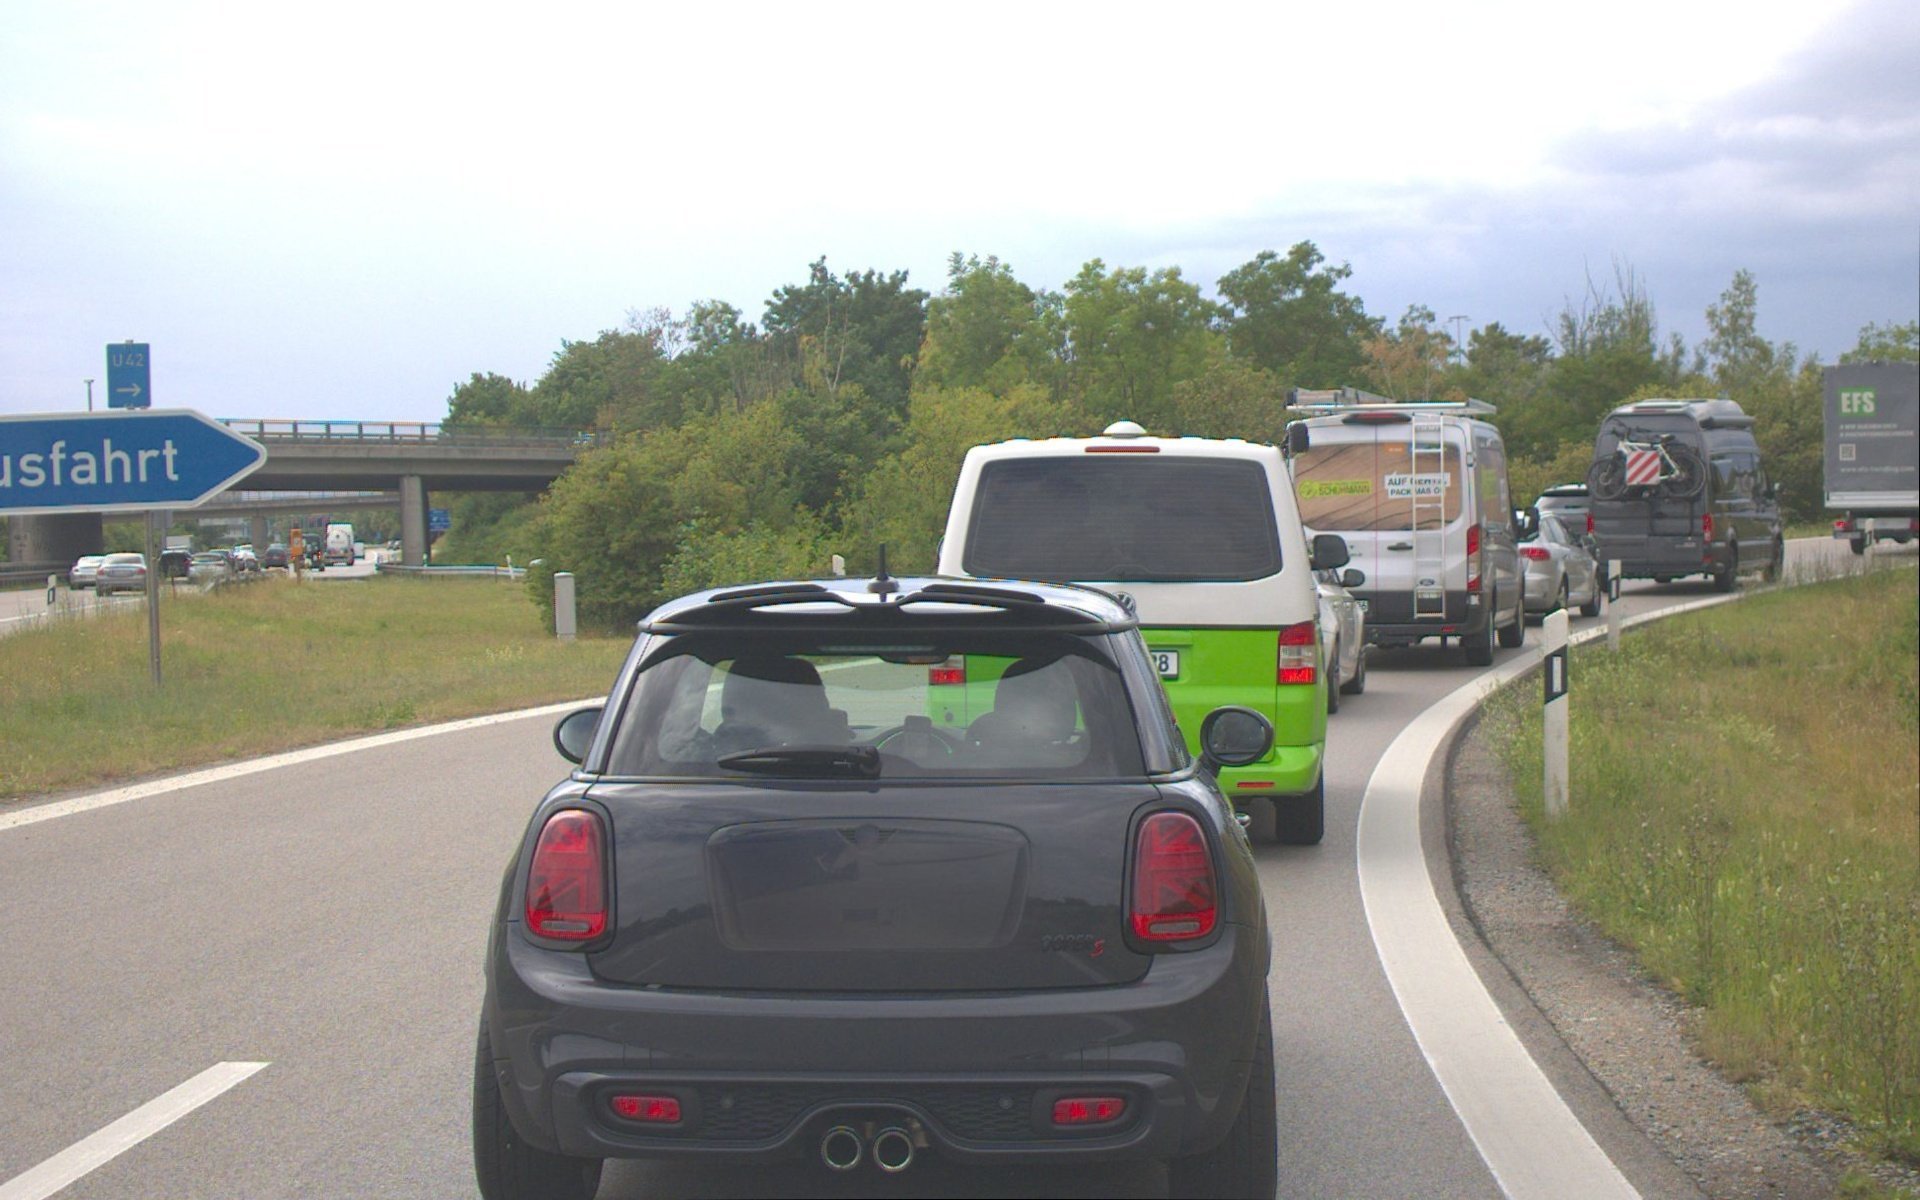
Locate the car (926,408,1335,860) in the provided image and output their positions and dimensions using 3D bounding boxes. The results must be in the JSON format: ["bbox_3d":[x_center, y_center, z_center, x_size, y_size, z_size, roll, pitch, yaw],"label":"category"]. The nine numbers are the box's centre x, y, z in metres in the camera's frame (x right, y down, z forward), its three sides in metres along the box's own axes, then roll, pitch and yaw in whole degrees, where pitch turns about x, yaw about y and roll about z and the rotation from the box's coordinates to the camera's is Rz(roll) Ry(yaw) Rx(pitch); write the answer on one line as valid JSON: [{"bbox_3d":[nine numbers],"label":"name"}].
[{"bbox_3d":[0.971,0.109,17.360,1.784,2.007,3.999,0,1,7],"label":"car"}]

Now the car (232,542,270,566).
[{"bbox_3d":[-50.183,-3.242,243.384,2.159,1.665,4.307,-1,1,-6],"label":"car"}]

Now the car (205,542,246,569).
[{"bbox_3d":[-46.756,-2.820,218.863,2.095,1.665,4.307,-1,1,-6],"label":"car"}]

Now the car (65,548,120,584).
[{"bbox_3d":[-35.083,-1.392,139.102,1.779,1.394,4.307,-1,1,-9],"label":"car"}]

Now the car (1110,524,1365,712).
[{"bbox_3d":[2.292,0.103,27.580,1.763,1.394,3.724,-1,1,9],"label":"car"}]

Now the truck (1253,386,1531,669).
[{"bbox_3d":[4.491,-0.764,35.022,2.180,2.649,5.106,0,2,14],"label":"truck"}]

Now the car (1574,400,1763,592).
[{"bbox_3d":[10.836,-1.578,52.386,2.107,2.786,3.996,1,2,22],"label":"car"}]

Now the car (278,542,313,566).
[{"bbox_3d":[-47.215,-3.291,244.269,2.095,1.665,4.307,-1,1,-6],"label":"car"}]

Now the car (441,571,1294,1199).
[{"bbox_3d":[-0.194,0.648,8.828,1.727,1.409,3.725,0,1,0],"label":"car"}]

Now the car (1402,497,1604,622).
[{"bbox_3d":[6.956,-0.528,43.717,1.868,1.504,3.996,0,1,19],"label":"car"}]

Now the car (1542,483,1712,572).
[{"bbox_3d":[12.124,-1.280,62.338,1.799,1.550,3.954,0,0,31],"label":"car"}]

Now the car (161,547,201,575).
[{"bbox_3d":[-40.583,-2.046,179.140,1.779,1.394,4.307,-1,1,-10],"label":"car"}]

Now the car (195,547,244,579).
[{"bbox_3d":[-33.492,-1.695,155.590,1.779,1.394,4.030,-1,1,-6],"label":"car"}]

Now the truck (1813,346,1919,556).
[{"bbox_3d":[18.905,-2.832,67.578,2.233,3.893,6.004,1,0,34],"label":"truck"}]

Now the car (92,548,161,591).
[{"bbox_3d":[-28.216,-1.041,116.472,1.779,1.394,4.552,-1,1,-7],"label":"car"}]
